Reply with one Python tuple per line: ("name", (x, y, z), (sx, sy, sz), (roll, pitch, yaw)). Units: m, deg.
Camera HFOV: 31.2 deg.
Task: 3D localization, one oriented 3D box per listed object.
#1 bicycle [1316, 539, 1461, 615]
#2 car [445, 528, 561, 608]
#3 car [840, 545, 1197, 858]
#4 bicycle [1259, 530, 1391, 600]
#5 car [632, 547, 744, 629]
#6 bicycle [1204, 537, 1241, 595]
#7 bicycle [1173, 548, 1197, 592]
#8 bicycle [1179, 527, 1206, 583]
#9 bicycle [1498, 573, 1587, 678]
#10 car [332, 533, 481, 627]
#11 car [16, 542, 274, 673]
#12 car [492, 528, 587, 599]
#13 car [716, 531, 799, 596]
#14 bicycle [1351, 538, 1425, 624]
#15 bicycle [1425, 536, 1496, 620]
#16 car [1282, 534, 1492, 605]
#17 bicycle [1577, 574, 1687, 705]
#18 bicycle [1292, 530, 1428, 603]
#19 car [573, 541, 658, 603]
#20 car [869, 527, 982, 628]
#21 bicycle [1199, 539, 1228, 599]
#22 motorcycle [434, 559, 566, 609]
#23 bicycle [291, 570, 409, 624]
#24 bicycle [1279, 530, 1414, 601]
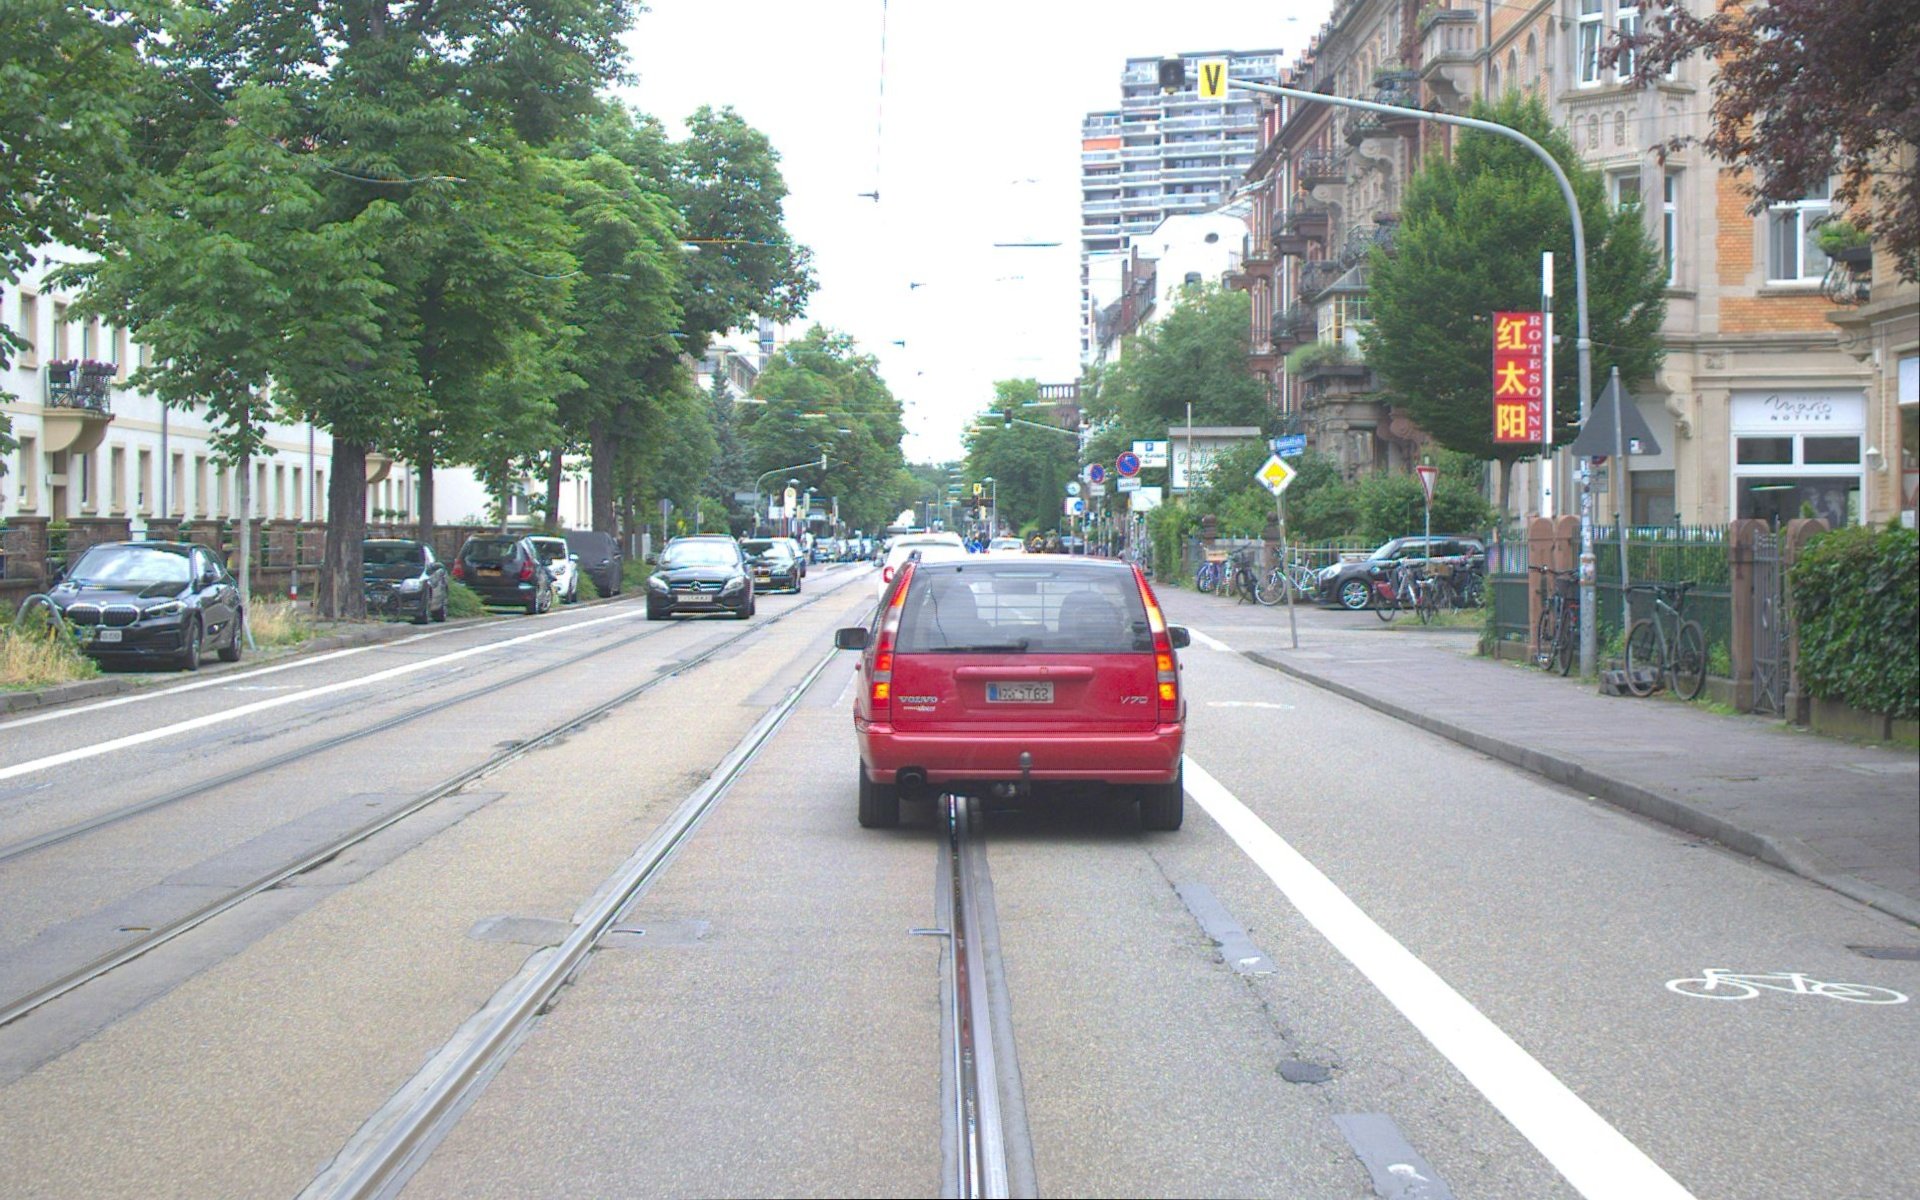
("bicycle", (9.294, -0.503, 74.609), (2.975, 1.619, 1.050), (1, 1, -2))
("car", (-9.260, -0.669, 69.897), (1.851, 1.557, 3.943), (1, 1, 0))
("car", (0.271, 0.462, 18.472), (1.689, 1.436, 3.743), (1, 1, 0))
("bicycle", (8.669, -0.837, 81.743), (2.975, 1.619, 1.050), (1, 1, -2))
("car", (-4.825, -0.235, 61.457), (1.755, 1.375, 4.027), (0, 1, -1))
("bicycle", (5.963, -0.787, 78.199), (0.708, 1.296, 1.904), (0, 1, 0))
("bicycle", (5.667, -0.767, 86.664), (0.490, 1.095, 1.734), (0, 1, 0))
("bicycle", (6.146, -1.211, 90.986), (0.555, 1.453, 2.985), (1, 1, 1))
("bicycle", (6.024, 0.248, 35.624), (0.523, 1.027, 2.176), (0, 1, -1))
("car", (-9.073, -0.361, 56.637), (1.718, 1.477, 4.000), (1, 1, 1))
("car", (-9.382, 0.044, 39.916), (1.890, 1.393, 4.417), (1, 1, 1))
("car", (-9.893, -0.876, 81.172), (1.713, 1.575, 4.000), (2, 1, 0))
("car", (-5.182, -0.968, 88.408), (1.894, 1.605, 4.500), (1, 1, -1))
("bicycle", (7.690, -0.357, 61.709), (0.918, 1.501, 2.379), (1, 1, 17))
("bicycle", (9.139, -0.415, 62.685), (0.918, 1.501, 2.379), (1, 1, 17))
("car", (8.384, -0.605, 67.338), (3.988, 1.357, 1.891), (0, 1, 10))
("bicycle", (5.979, 0.330, 30.669), (0.523, 1.096, 2.176), (0, 1, -1))
("bicycle", (9.195, -0.777, 79.121), (2.975, 1.619, 1.050), (1, 1, -2))
("car", (-8.530, -0.719, 85.394), (1.720, 1.481, 4.000), (0, 1, 0))
("car", (-0.544, -0.406, 57.528), (1.719, 1.619, 3.941), (1, 1, 2))
("bicycle", (5.984, -0.729, 81.146), (0.551, 1.395, 1.734), (0, 1, 0))
("motorcycle", (-10.148, -0.356, 75.929), (2.869, 1.073, 1.100), (0, 1, -7))
("bicycle", (-9.747, -0.050, 54.956), (1.749, 0.841, 0.684), (1, 1, 1))
("bicycle", (9.025, -0.805, 80.386), (2.975, 1.619, 1.050), (1, 1, -2))
